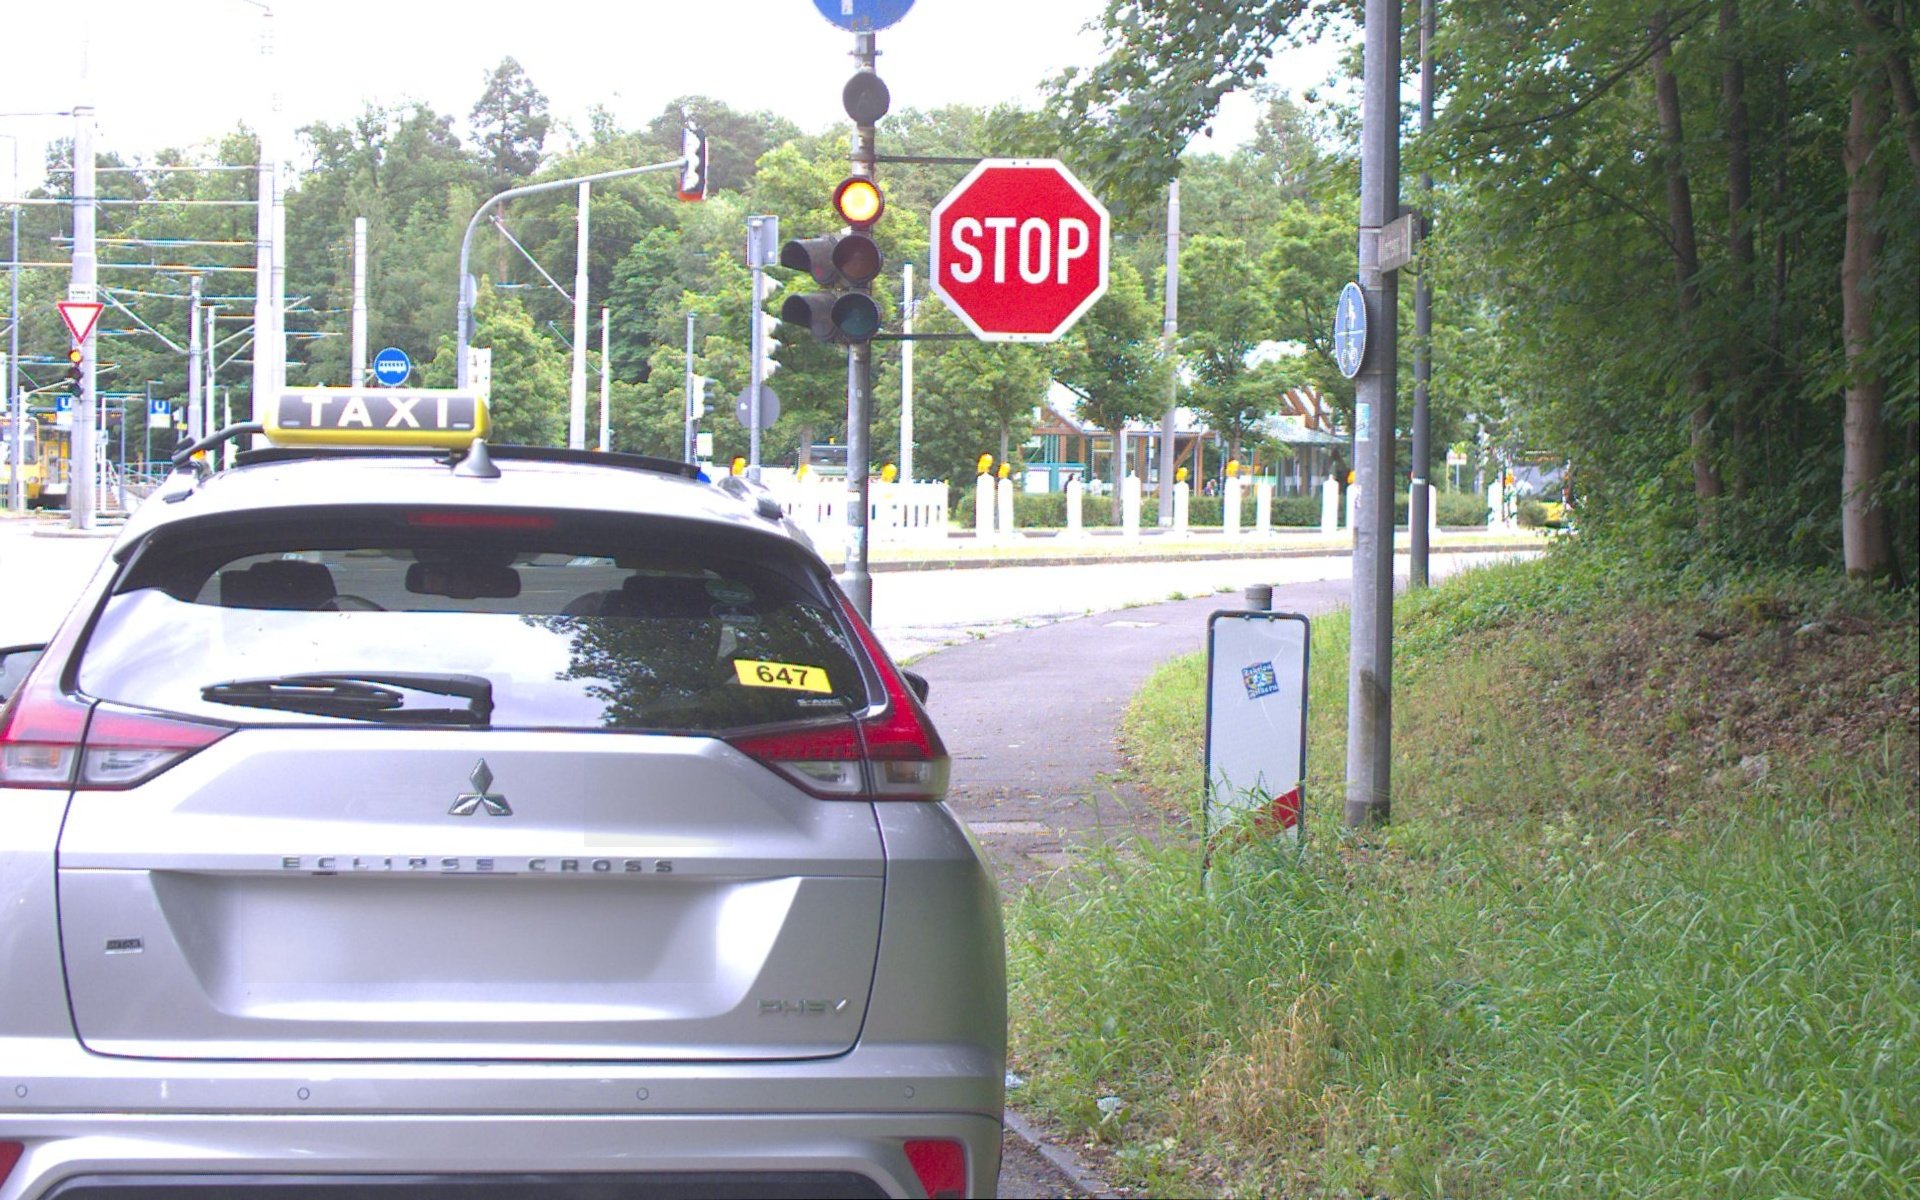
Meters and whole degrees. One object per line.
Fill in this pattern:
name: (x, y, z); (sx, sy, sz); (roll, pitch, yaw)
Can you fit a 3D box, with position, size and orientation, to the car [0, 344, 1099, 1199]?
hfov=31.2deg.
car: (-0.996, 0.471, 6.809); (1.773, 1.742, 3.782); (2, 2, -9)
